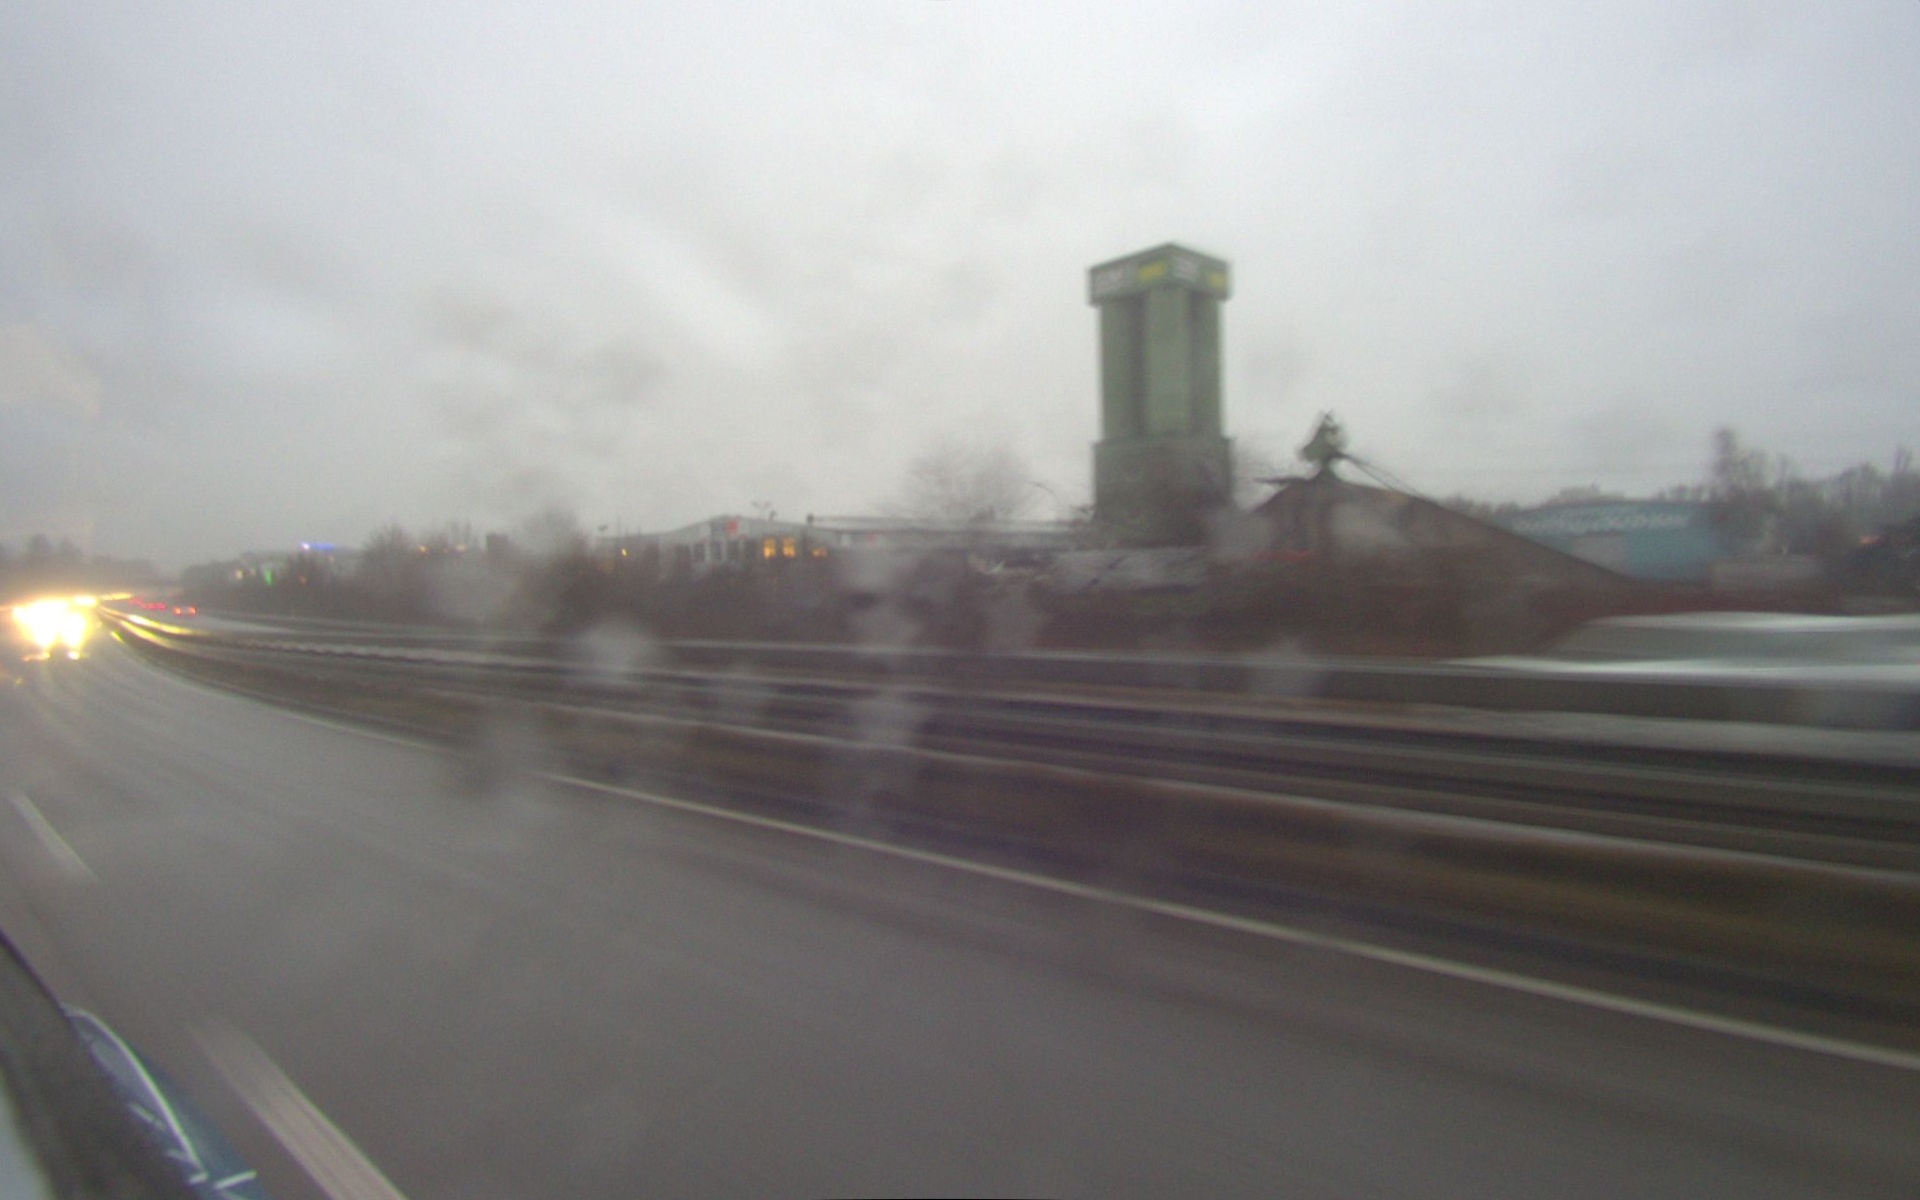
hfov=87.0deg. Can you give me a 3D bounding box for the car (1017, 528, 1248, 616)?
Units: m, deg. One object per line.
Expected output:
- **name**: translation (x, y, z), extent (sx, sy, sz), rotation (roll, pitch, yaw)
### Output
- **car**: translation (6.910, -0.975, 42.495), extent (3.152, 3.235, 9.956), rotation (1, -1, -39)

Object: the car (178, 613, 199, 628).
- **car**: translation (-86.701, 2.311, 113.739), extent (1.740, 1.639, 4.534), rotation (1, -1, -39)

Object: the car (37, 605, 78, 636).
- **car**: translation (-64.005, 1.414, 71.756), extent (1.970, 2.028, 4.004), rotation (-4, 3, -43)

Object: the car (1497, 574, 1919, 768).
- **car**: translation (8.224, 0.635, 10.211), extent (4.685, 1.696, 1.775), rotation (-1, -1, 40)
